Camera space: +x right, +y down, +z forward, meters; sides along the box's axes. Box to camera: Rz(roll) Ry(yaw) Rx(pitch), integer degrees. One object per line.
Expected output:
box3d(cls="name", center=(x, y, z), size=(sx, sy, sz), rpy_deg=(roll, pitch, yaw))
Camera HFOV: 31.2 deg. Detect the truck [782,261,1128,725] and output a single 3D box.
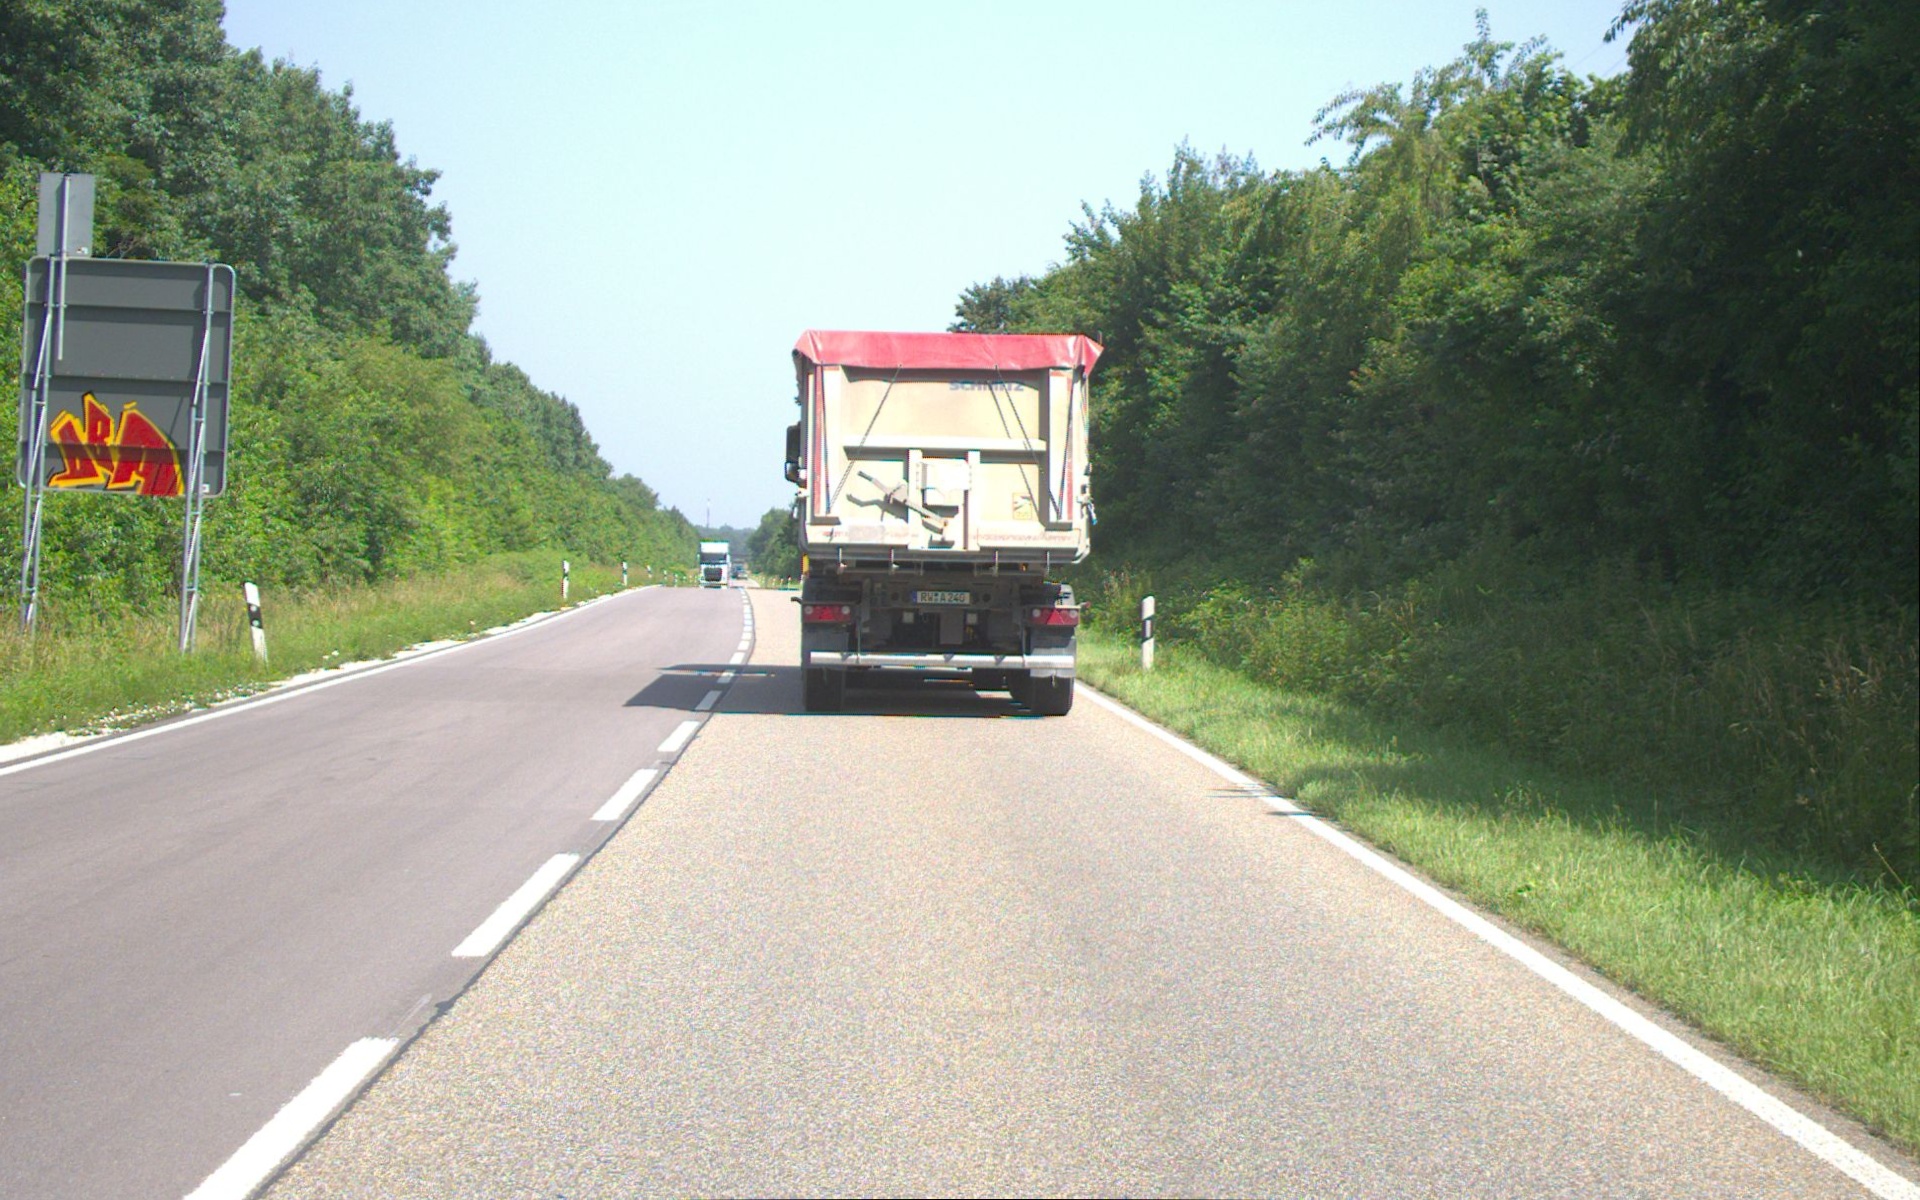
box3d(cls="truck", center=(-0.350, -1.032, 35.446), size=(2.893, 3.949, 11.934), rpy_deg=(1, 1, -3))
